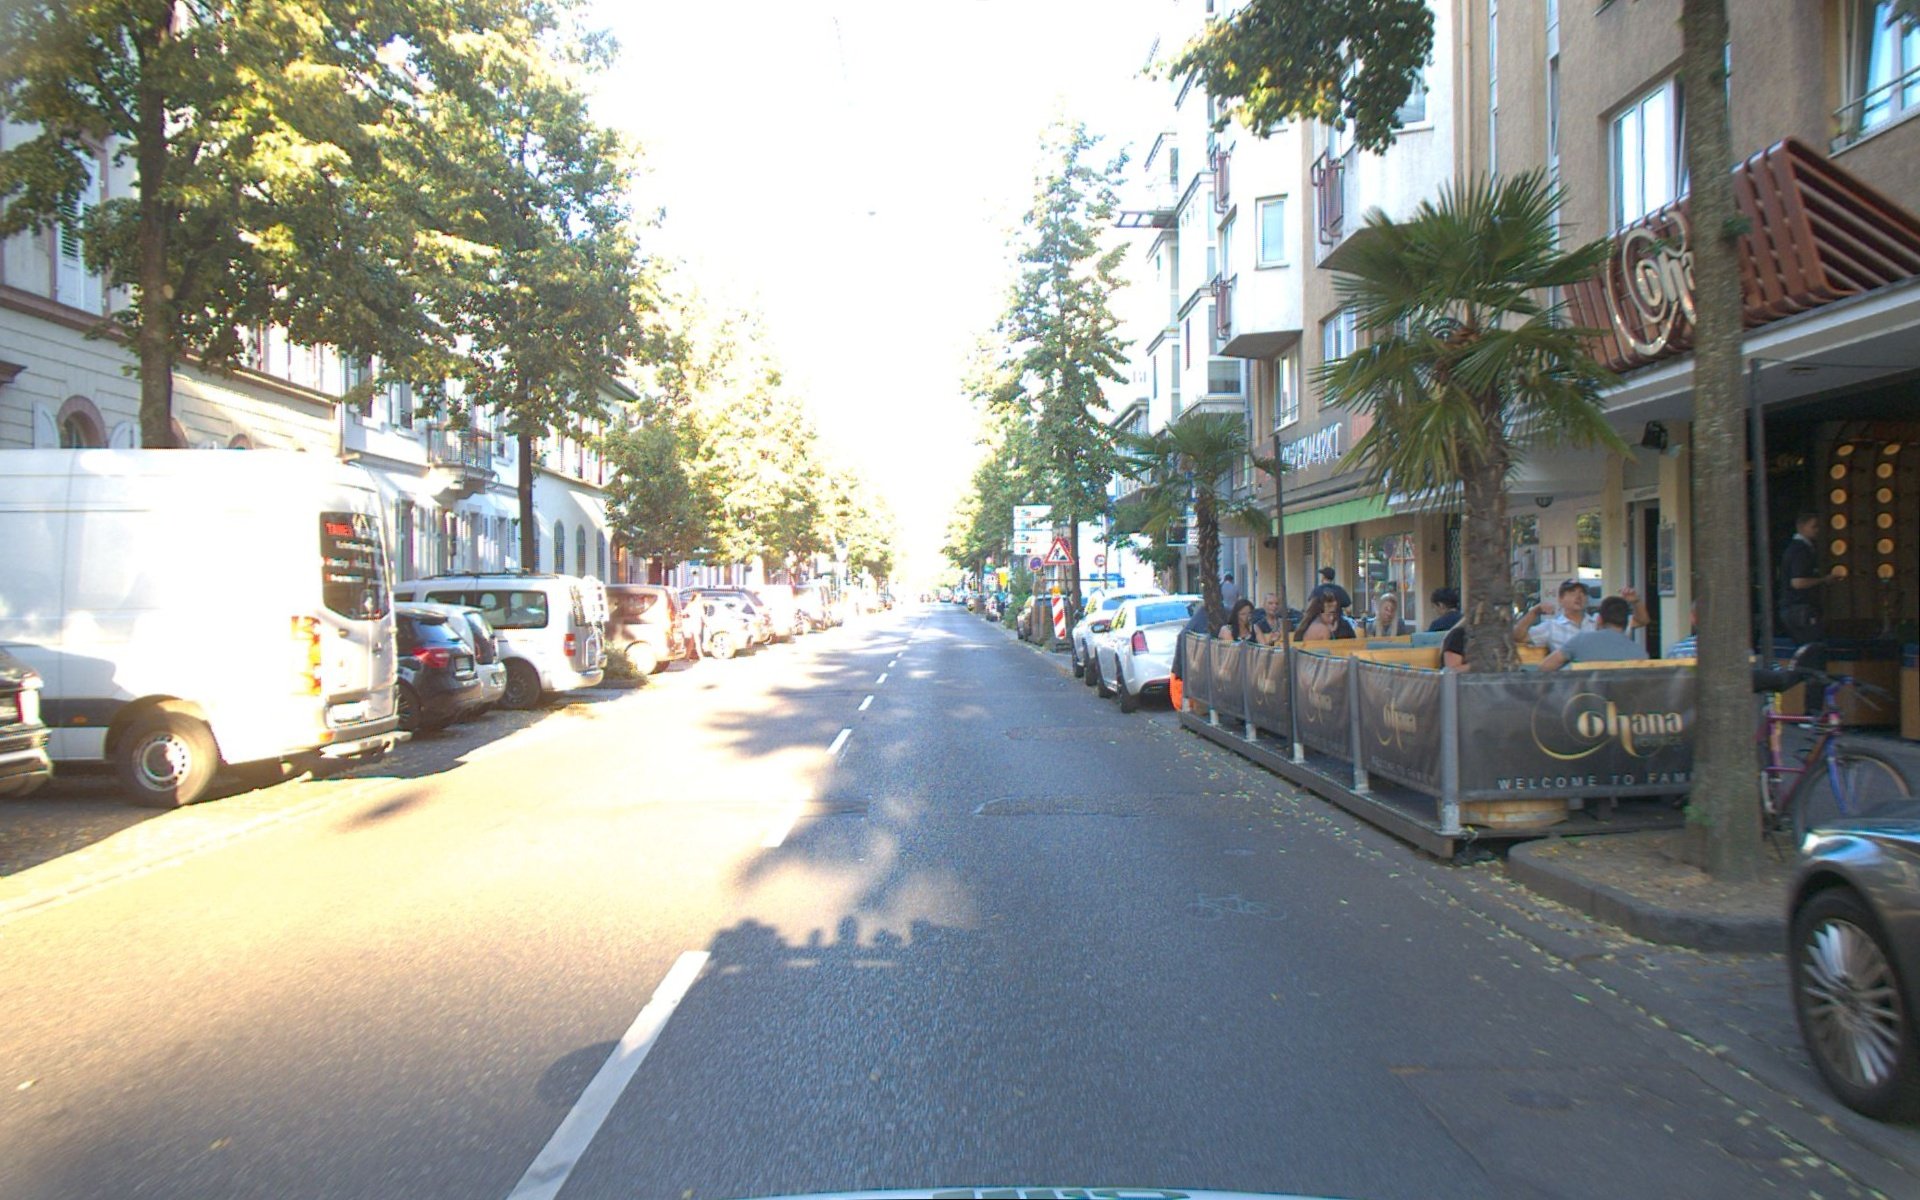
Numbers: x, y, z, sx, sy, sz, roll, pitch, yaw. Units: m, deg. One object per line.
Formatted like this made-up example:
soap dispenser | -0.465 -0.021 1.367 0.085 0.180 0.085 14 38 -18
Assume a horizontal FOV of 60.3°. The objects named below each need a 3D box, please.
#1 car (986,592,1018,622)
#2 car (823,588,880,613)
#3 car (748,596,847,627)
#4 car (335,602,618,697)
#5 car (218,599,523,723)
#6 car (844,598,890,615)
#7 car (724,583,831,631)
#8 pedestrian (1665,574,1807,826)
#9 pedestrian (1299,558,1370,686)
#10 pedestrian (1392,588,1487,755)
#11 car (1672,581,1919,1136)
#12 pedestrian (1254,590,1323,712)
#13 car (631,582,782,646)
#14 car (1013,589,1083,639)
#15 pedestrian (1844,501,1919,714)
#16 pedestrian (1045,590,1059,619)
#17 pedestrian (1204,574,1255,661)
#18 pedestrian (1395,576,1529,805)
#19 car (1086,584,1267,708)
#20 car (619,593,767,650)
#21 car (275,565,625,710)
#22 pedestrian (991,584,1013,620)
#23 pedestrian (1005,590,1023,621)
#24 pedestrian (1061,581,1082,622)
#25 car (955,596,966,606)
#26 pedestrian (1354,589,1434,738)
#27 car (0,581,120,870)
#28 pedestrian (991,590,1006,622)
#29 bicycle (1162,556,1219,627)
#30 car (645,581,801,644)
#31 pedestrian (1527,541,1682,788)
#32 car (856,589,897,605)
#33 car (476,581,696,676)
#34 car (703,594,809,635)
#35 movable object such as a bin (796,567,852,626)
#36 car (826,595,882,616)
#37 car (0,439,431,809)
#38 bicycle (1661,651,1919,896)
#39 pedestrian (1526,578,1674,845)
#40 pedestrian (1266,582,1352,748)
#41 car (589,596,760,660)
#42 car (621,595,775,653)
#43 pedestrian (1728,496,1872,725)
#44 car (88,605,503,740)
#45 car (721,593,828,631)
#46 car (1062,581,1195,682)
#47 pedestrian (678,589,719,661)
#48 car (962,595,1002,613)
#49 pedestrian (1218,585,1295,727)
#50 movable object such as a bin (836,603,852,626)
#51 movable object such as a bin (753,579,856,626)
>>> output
car | 2.439 0.404 96.448 1.652 1.602 4.012 -3 0 -1
car | -8.795 0.034 134.201 4.478 1.996 1.990 0 0 -1
car | -7.809 0.547 79.749 4.498 1.495 1.893 0 0 2
car | -7.715 0.773 26.624 4.067 1.465 1.594 0 0 0
car | -7.435 0.751 21.126 3.303 1.492 1.711 1 0 -5
car | -8.909 0.609 158.467 4.351 1.595 1.919 0 0 0
car | -7.821 0.302 71.260 4.391 2.010 2.068 0 0 0
pedestrian | 4.380 0.553 9.356 0.536 1.368 0.438 -3 0 -1
pedestrian | 5.235 0.299 23.166 0.772 1.734 0.700 -2 0 -1
pedestrian | 4.219 0.617 14.583 0.565 1.409 0.718 -3 0 -1
car | 3.414 0.678 3.433 1.738 1.465 5.001 -3 0 1
pedestrian | 3.551 0.541 17.903 0.565 1.265 0.603 -3 0 -1
car | -7.789 0.424 51.139 4.338 1.903 1.894 -1 0 0
car | 2.864 0.441 54.912 1.792 1.514 4.847 -3 0 -3
pedestrian | 8.845 0.048 15.359 0.782 1.916 0.878 -2 1 2
pedestrian | 5.223 0.264 93.839 0.645 1.589 0.701 -3 0 -1
pedestrian | 5.818 0.377 35.722 0.839 1.826 0.996 -2 0 -4
pedestrian | 3.479 0.607 11.517 0.618 1.511 0.795 -3 0 -1
car | 3.009 0.592 24.064 1.804 1.506 5.189 -3 0 -1
car | -7.777 0.618 48.495 3.954 1.582 1.965 -1 0 1
car | -7.224 0.514 23.749 4.407 1.987 1.919 0 0 1
pedestrian | 2.304 0.109 90.495 0.995 1.857 0.778 -3 0 -11
pedestrian | 3.021 0.309 92.969 0.648 1.730 0.657 -3 0 -45
pedestrian | 5.261 0.055 77.946 0.806 1.886 1.097 -3 0 -2
car | 0.038 0.124 232.400 1.482 1.298 3.303 0 0 0
pedestrian | 4.249 0.607 16.228 0.565 1.409 0.603 -3 0 -1
car | -7.473 0.682 9.627 4.126 1.628 1.975 1 0 0
pedestrian | 2.188 0.346 93.248 0.665 1.785 0.823 -1 0 -11
bicycle | 4.469 -0.167 32.158 0.759 1.284 2.050 -3 0 0
car | -7.661 0.398 53.868 4.771 1.941 1.973 -1 0 -1
pedestrian | 4.479 0.431 11.545 0.693 1.626 0.795 -3 0 -1
car | -9.214 -0.341 182.371 4.351 1.790 1.919 0 0 0
car | -7.625 0.568 33.987 4.053 1.838 1.807 -1 0 1
car | -7.872 0.548 64.124 3.841 1.527 1.905 0 0 1
movable object such as a bin | -7.203 -0.202 88.020 2.571 3.021 5.302 -1 0 -1
car | -8.738 0.461 136.901 4.478 1.727 2.060 0 0 0
car | -7.343 0.152 13.124 5.543 2.667 2.171 1 0 -1
bicycle | 4.060 0.778 8.050 0.378 1.001 1.709 -1 0 -7
pedestrian | 3.735 0.629 9.685 0.565 1.488 0.603 -3 0 -1
pedestrian | 3.075 0.562 14.609 0.565 1.409 0.603 -3 0 -1
car | -7.015 0.674 40.969 3.978 1.487 1.684 -1 0 -3
car | -7.243 0.656 46.038 3.955 1.509 1.962 -1 0 -1
pedestrian | 7.325 0.076 14.462 0.782 1.916 0.878 -2 1 0
car | -7.297 0.785 18.466 3.907 1.429 1.749 0 -1 -3
car | -7.501 0.477 67.173 4.242 1.527 1.840 0 0 -6
car | 2.973 0.523 30.097 1.841 1.601 4.691 -3 0 0
pedestrian | -6.180 0.588 39.097 0.810 1.667 0.827 -1 0 0
car | 2.074 0.350 152.834 1.645 1.616 3.801 0 0 42
pedestrian | 2.912 0.540 16.302 0.565 1.342 0.704 -3 0 -1
movable object such as a bin | -5.743 0.698 81.803 0.675 1.124 0.883 -1 0 1
movable object such as a bin | -8.620 0.112 92.384 2.273 2.539 5.719 -1 0 42
